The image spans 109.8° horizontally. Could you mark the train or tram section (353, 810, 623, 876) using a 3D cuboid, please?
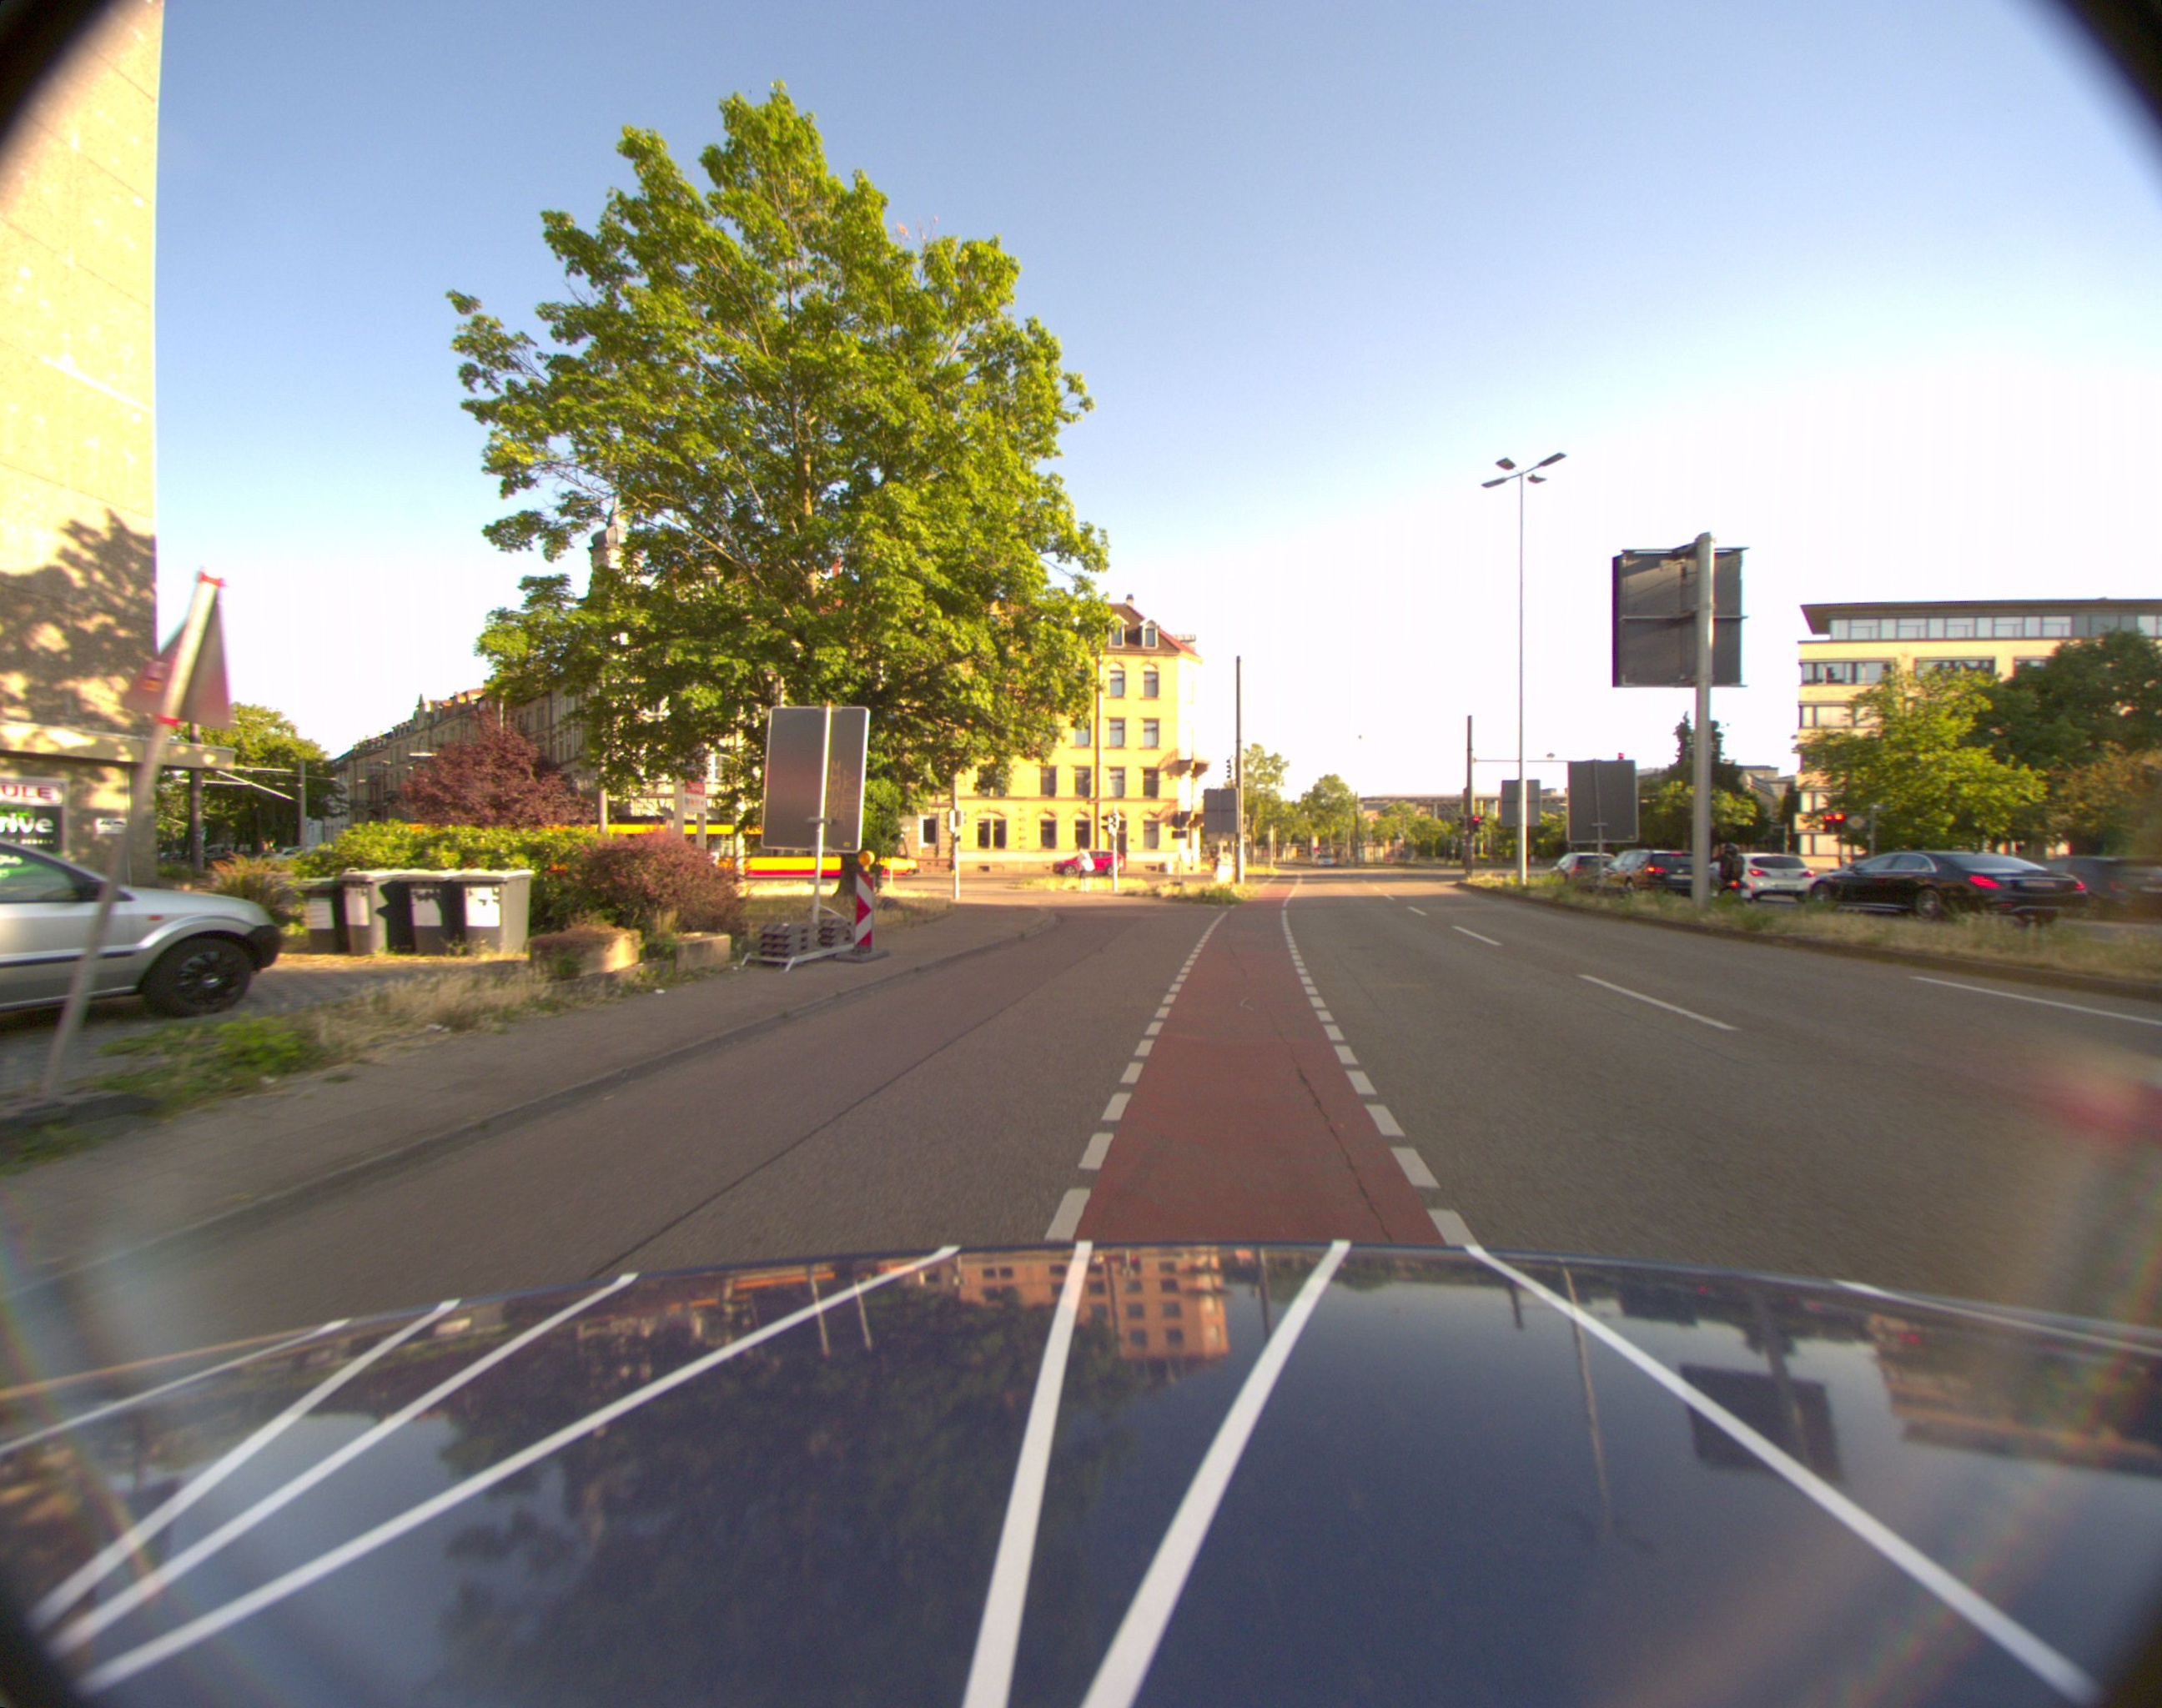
[{"bbox_3d":[-32.535,-0.572,41.926,13.001,3.487,2.870,0,1,3],"label":"train or tram section"}]

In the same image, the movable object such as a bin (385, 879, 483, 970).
[{"bbox_3d":[-7.742,0.822,9.120,0.573,1.023,0.674,0,1,5],"label":"movable object such as a bin"}]

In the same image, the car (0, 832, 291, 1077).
[{"bbox_3d":[-7.846,0.656,4.675,1.622,1.584,3.896,0,1,8],"label":"car"}]

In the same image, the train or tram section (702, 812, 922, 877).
[{"bbox_3d":[-14.854,-0.512,42.844,11.296,3.487,2.867,0,1,-8],"label":"train or tram section"}]

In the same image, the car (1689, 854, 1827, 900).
[{"bbox_3d":[21.407,0.663,24.233,1.721,1.311,3.899,0,0,16],"label":"car"}]

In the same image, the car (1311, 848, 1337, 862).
[{"bbox_3d":[27.764,0.138,86.904,1.998,1.565,4.001,0,0,4],"label":"car"}]

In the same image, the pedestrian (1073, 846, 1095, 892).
[{"bbox_3d":[0.127,0.585,30.195,0.826,1.778,0.912,0,1,4],"label":"pedestrian"}]

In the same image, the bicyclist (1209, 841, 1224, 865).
[{"bbox_3d":[10.555,-0.106,59.238,1.071,1.831,1.304,0,1,6],"label":"bicyclist"}]

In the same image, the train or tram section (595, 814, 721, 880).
[{"bbox_3d":[-23.151,-0.368,41.793,5.301,3.487,2.869,0,1,-4],"label":"train or tram section"}]

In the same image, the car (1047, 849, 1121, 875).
[{"bbox_3d":[0.150,0.474,47.190,4.464,1.605,1.820,0,1,-6],"label":"car"}]

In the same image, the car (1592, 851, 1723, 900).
[{"bbox_3d":[16.851,0.550,22.481,1.720,1.289,4.382,0,0,18],"label":"car"}]

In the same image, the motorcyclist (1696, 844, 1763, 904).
[{"bbox_3d":[15.480,0.454,18.166,0.852,1.390,1.063,0,1,18],"label":"motorcyclist"}]

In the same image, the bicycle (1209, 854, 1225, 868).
[{"bbox_3d":[10.575,0.556,59.287,1.071,1.018,2.976,0,0,7],"label":"bicycle"}]

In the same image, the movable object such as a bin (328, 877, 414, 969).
[{"bbox_3d":[-8.490,0.807,9.097,0.521,1.023,0.586,0,1,25],"label":"movable object such as a bin"}]

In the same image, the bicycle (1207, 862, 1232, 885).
[{"bbox_3d":[6.352,0.892,34.745,0.398,1.023,1.675,1,1,36],"label":"bicycle"}]

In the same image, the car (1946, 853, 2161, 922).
[{"bbox_3d":[23.829,0.732,18.359,1.856,1.455,4.004,0,0,12],"label":"car"}]

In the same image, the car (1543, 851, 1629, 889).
[{"bbox_3d":[19.007,0.551,28.795,1.720,1.289,4.255,0,0,19],"label":"car"}]

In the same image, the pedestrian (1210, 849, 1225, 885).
[{"bbox_3d":[6.277,0.578,34.845,0.488,1.622,0.526,1,1,36],"label":"pedestrian"}]

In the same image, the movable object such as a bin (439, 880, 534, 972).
[{"bbox_3d":[-7.009,0.830,8.983,0.573,1.023,0.674,0,1,5],"label":"movable object such as a bin"}]

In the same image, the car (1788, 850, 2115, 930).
[{"bbox_3d":[18.907,0.665,17.028,1.997,1.487,5.296,0,0,12],"label":"car"}]

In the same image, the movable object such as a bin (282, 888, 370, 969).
[{"bbox_3d":[-9.106,0.882,9.175,0.486,0.903,0.586,0,1,19],"label":"movable object such as a bin"}]

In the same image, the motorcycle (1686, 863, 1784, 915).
[{"bbox_3d":[15.439,0.780,18.041,0.859,1.101,2.473,0,1,18],"label":"motorcycle"}]
